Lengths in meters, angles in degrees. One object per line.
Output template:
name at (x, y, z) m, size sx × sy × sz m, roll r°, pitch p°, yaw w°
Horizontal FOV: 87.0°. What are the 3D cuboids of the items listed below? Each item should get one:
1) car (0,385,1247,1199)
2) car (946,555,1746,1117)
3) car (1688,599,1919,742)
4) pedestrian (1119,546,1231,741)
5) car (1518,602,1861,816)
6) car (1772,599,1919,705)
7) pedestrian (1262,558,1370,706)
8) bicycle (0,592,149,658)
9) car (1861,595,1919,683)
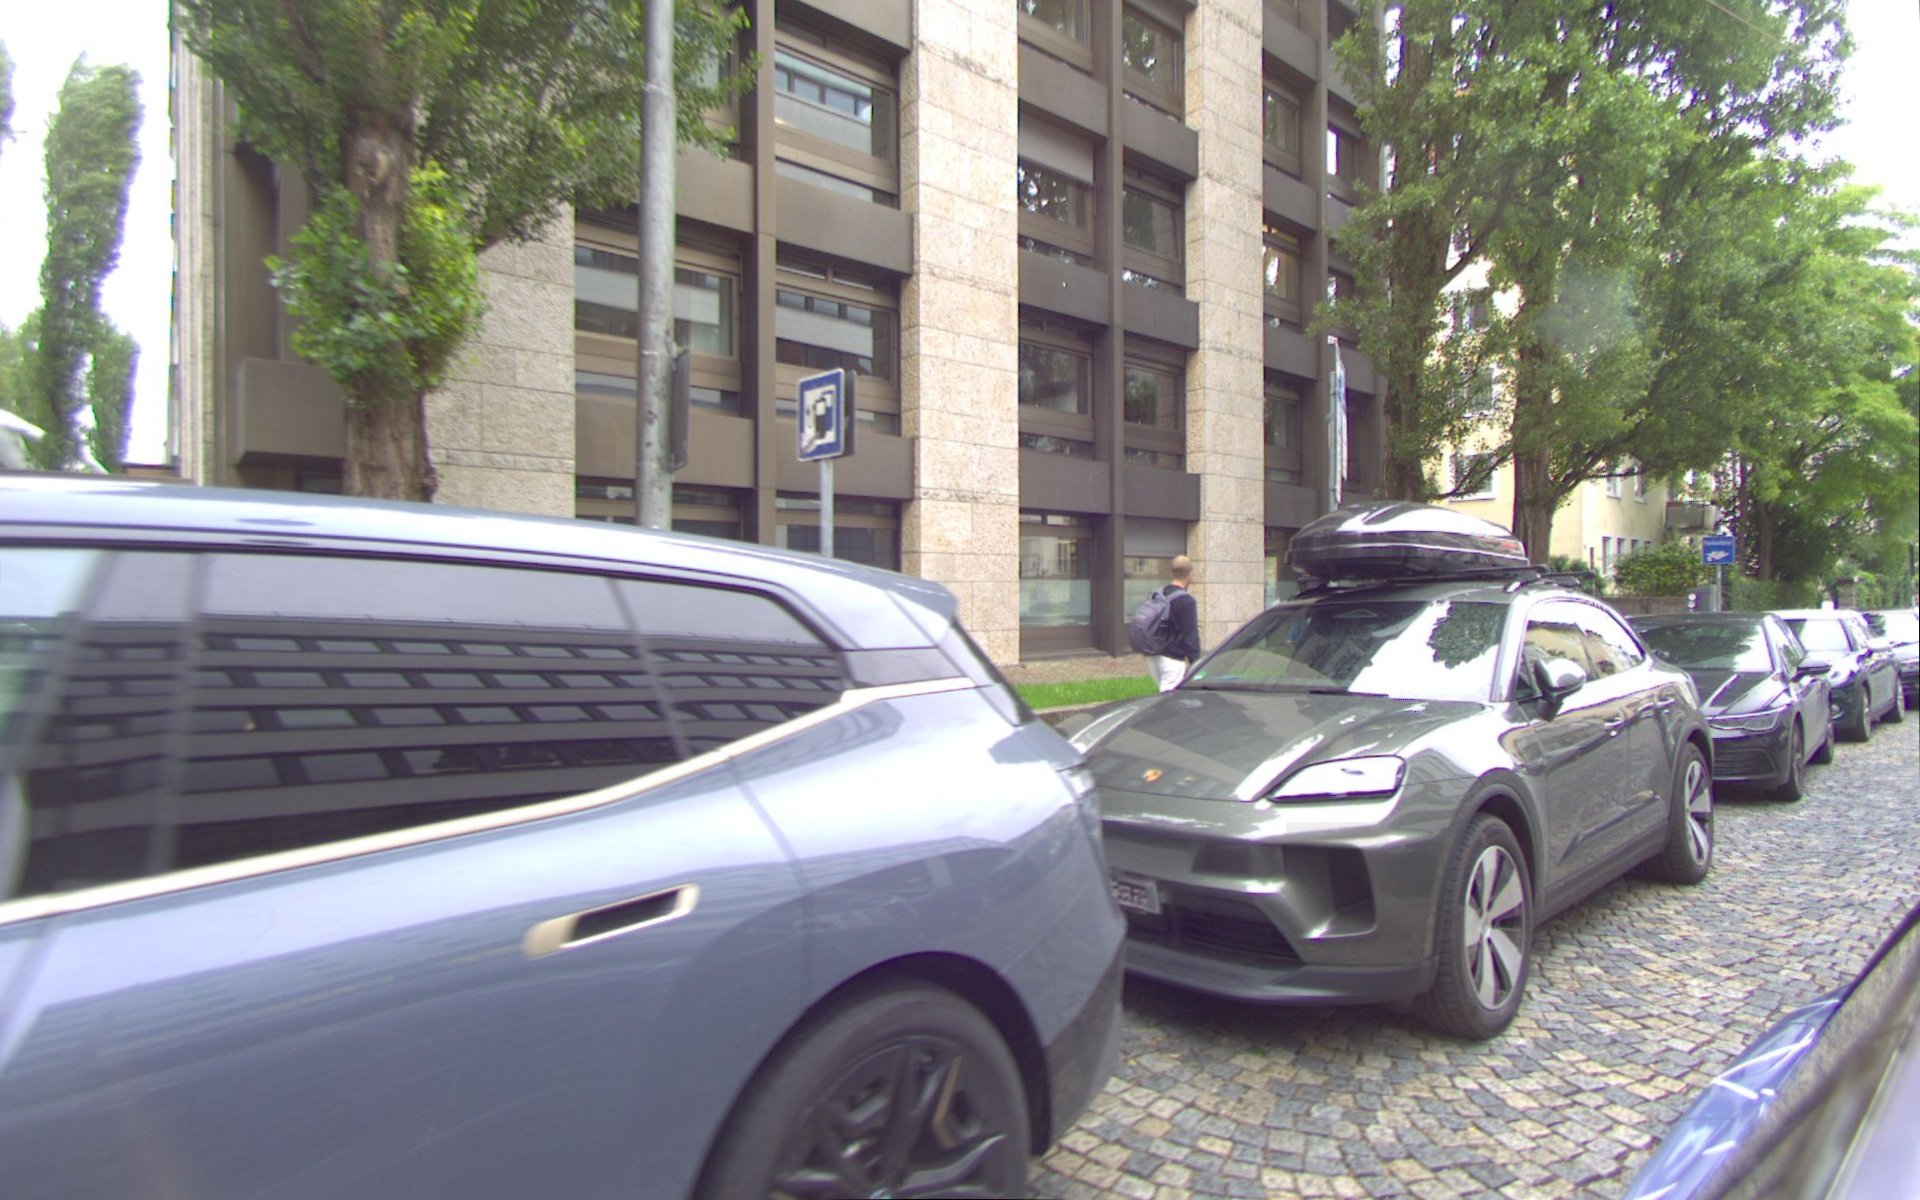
car at (-1.686, 0.656, 1.694) m, size 4.592 × 1.722 × 2.016 m, roll 0°, pitch 0°, yaw -42°
car at (2.191, 0.664, 5.066) m, size 4.267 × 1.603 × 1.996 m, roll 0°, pitch 0°, yaw -42°
car at (10.225, 0.747, 12.144) m, size 3.500 × 1.449 × 1.603 m, roll 0°, pitch -2°, yaw -41°
pedestrian at (1.815, 0.340, 8.556) m, size 0.697 × 1.557 × 0.644 m, roll 0°, pitch 0°, yaw -43°
car at (6.568, 0.744, 8.926) m, size 4.135 × 1.407 × 1.721 m, roll 0°, pitch 1°, yaw -43°
car at (13.975, 0.708, 15.381) m, size 3.808 × 1.405 × 1.995 m, roll -1°, pitch -1°, yaw -43°
pedestrian at (4.371, 0.368, 12.458) m, size 0.893 × 1.735 × 0.871 m, roll 0°, pitch 0°, yaw -20°
bicycle at (-16.685, 0.444, 19.045) m, size 2.206 × 1.170 × 0.647 m, roll 0°, pitch 0°, yaw -40°
car at (18.104, 0.661, 18.651) m, size 3.808 × 1.518 × 1.864 m, roll -1°, pitch -1°, yaw -43°
